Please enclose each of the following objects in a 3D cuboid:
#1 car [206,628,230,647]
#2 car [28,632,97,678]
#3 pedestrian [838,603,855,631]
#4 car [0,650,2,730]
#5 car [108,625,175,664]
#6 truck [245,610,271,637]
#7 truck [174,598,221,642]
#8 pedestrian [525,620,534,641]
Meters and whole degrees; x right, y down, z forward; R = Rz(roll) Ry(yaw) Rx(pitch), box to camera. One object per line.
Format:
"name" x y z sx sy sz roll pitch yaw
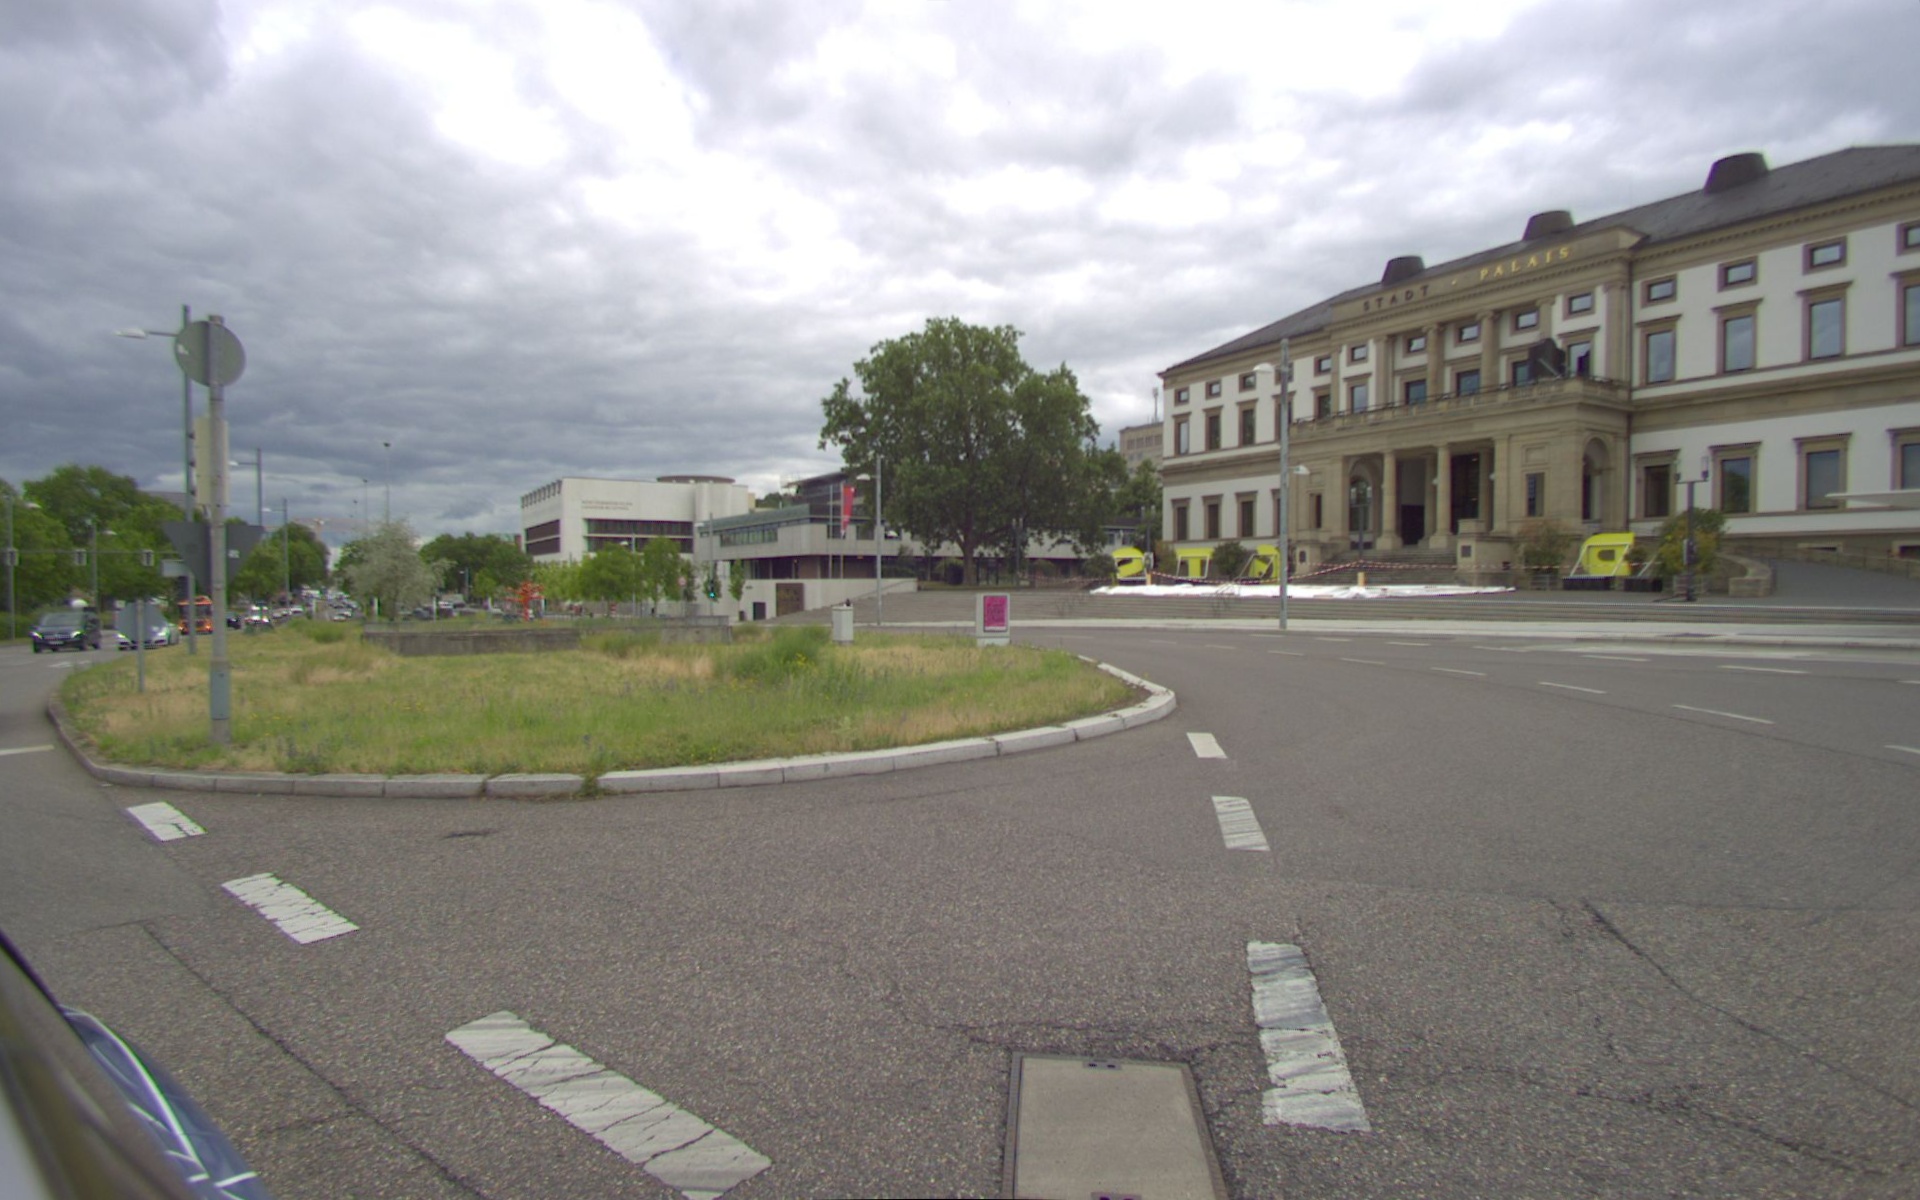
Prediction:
"car" -77.207 3.899 105.319 1.754 1.922 3.809 -2 -1 -32
"car" -42.858 2.577 48.409 1.829 2.003 4.654 0 -1 -33
"pedestrian" -7.290 1.108 64.962 0.672 1.761 0.893 -2 0 -37
"car" -13.192 1.026 12.256 1.975 1.650 5.029 -2 0 -40
"car" -38.162 2.033 47.269 2.062 1.621 4.423 0 -1 -34
"truck" -76.617 2.579 110.557 1.923 2.805 5.806 -2 0 -31
"truck" -68.881 1.807 91.545 2.683 3.643 9.203 -2 0 -33
"pedestrian" -34.014 2.400 79.926 0.469 1.647 0.442 -2 0 28
